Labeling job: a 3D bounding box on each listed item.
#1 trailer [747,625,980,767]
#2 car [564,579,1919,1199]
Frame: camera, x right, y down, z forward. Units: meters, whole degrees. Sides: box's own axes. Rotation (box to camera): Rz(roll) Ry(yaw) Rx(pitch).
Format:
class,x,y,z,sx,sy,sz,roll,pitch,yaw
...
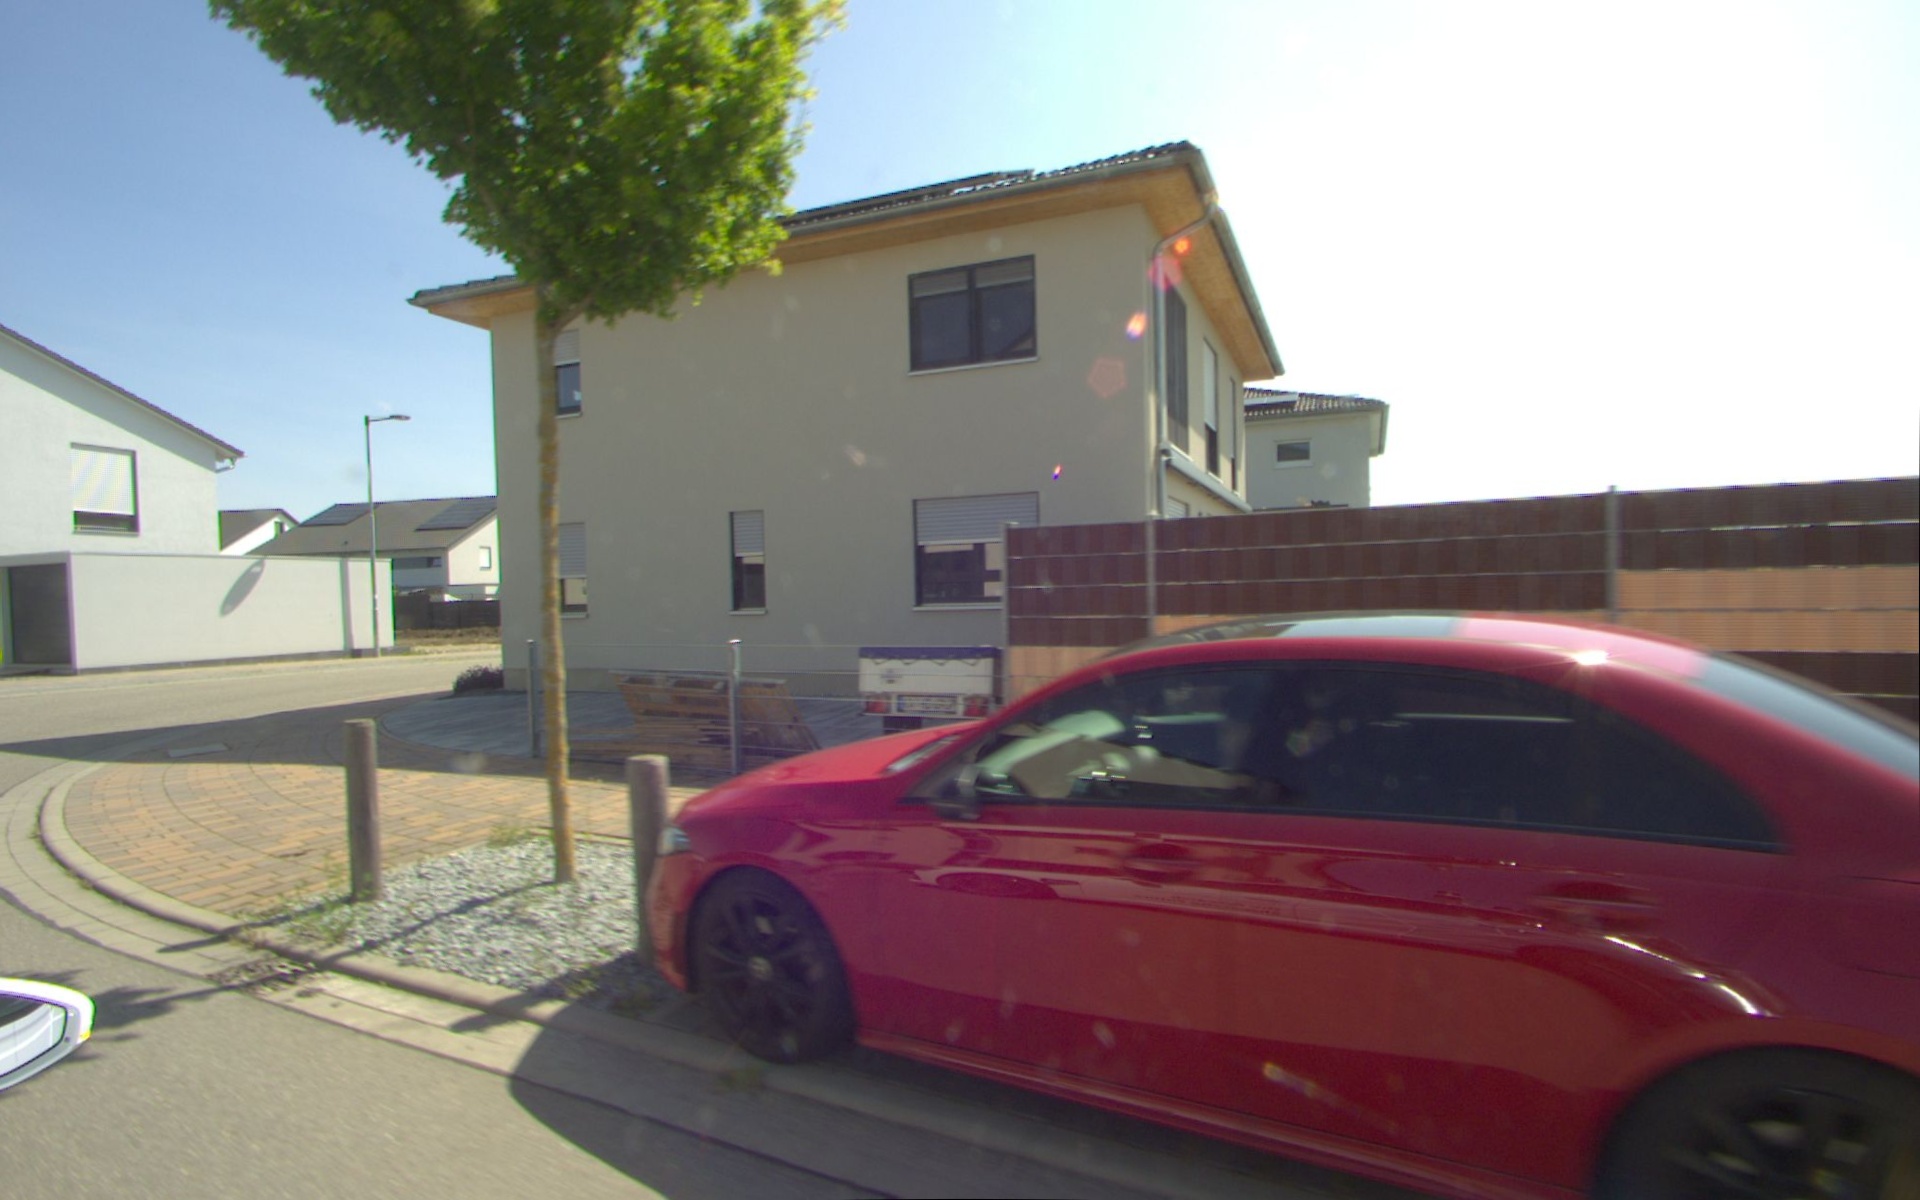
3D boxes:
class,x,y,z,sx,sy,sz,roll,pitch,yaw
trailer,-0.793,0.798,9.225,1.137,0.973,2.235,-1,3,25
car,0.920,0.723,3.276,4.453,1.457,1.759,-1,2,31
